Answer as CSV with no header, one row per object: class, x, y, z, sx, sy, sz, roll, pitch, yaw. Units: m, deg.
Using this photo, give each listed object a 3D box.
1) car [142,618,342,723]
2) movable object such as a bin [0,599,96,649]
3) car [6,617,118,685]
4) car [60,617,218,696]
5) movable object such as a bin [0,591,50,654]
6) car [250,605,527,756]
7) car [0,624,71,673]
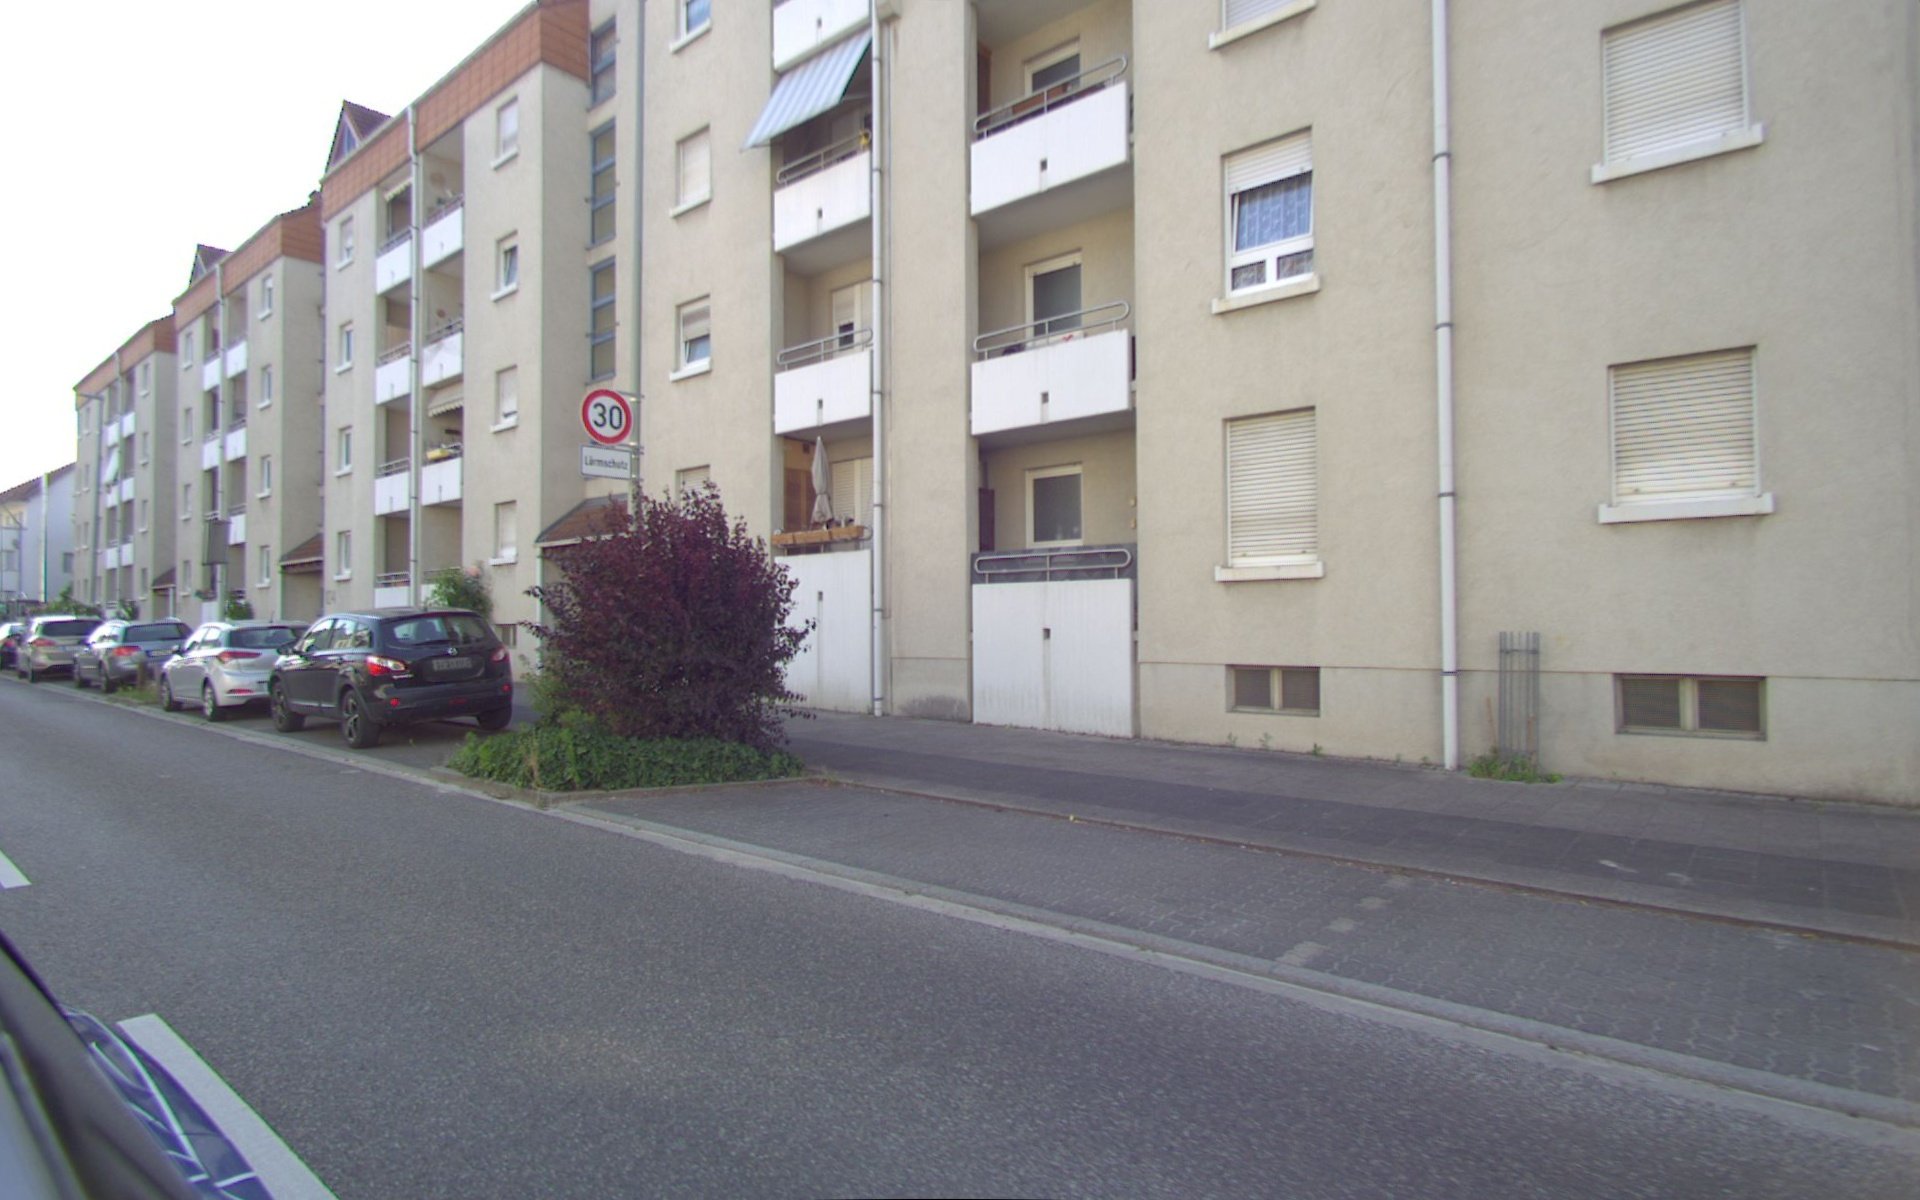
car,-11.649,1.054,16.322,4.138,1.465,1.669,-2,-1,40
movable object such as a bin,-55.831,1.415,60.877,2.102,2.922,5.463,-2,-1,28
car,-22.863,1.242,25.723,3.964,1.567,1.708,-1,0,42
car,-17.847,1.159,21.927,4.365,1.532,1.790,-1,-1,39
movable object such as a bin,-48.837,1.175,52.630,3.895,3.162,1.631,-2,-3,39
car,-7.408,0.903,12.934,4.366,1.615,1.669,-1,-1,40
car,-29.035,1.467,31.328,4.080,1.416,1.669,-1,-1,40
